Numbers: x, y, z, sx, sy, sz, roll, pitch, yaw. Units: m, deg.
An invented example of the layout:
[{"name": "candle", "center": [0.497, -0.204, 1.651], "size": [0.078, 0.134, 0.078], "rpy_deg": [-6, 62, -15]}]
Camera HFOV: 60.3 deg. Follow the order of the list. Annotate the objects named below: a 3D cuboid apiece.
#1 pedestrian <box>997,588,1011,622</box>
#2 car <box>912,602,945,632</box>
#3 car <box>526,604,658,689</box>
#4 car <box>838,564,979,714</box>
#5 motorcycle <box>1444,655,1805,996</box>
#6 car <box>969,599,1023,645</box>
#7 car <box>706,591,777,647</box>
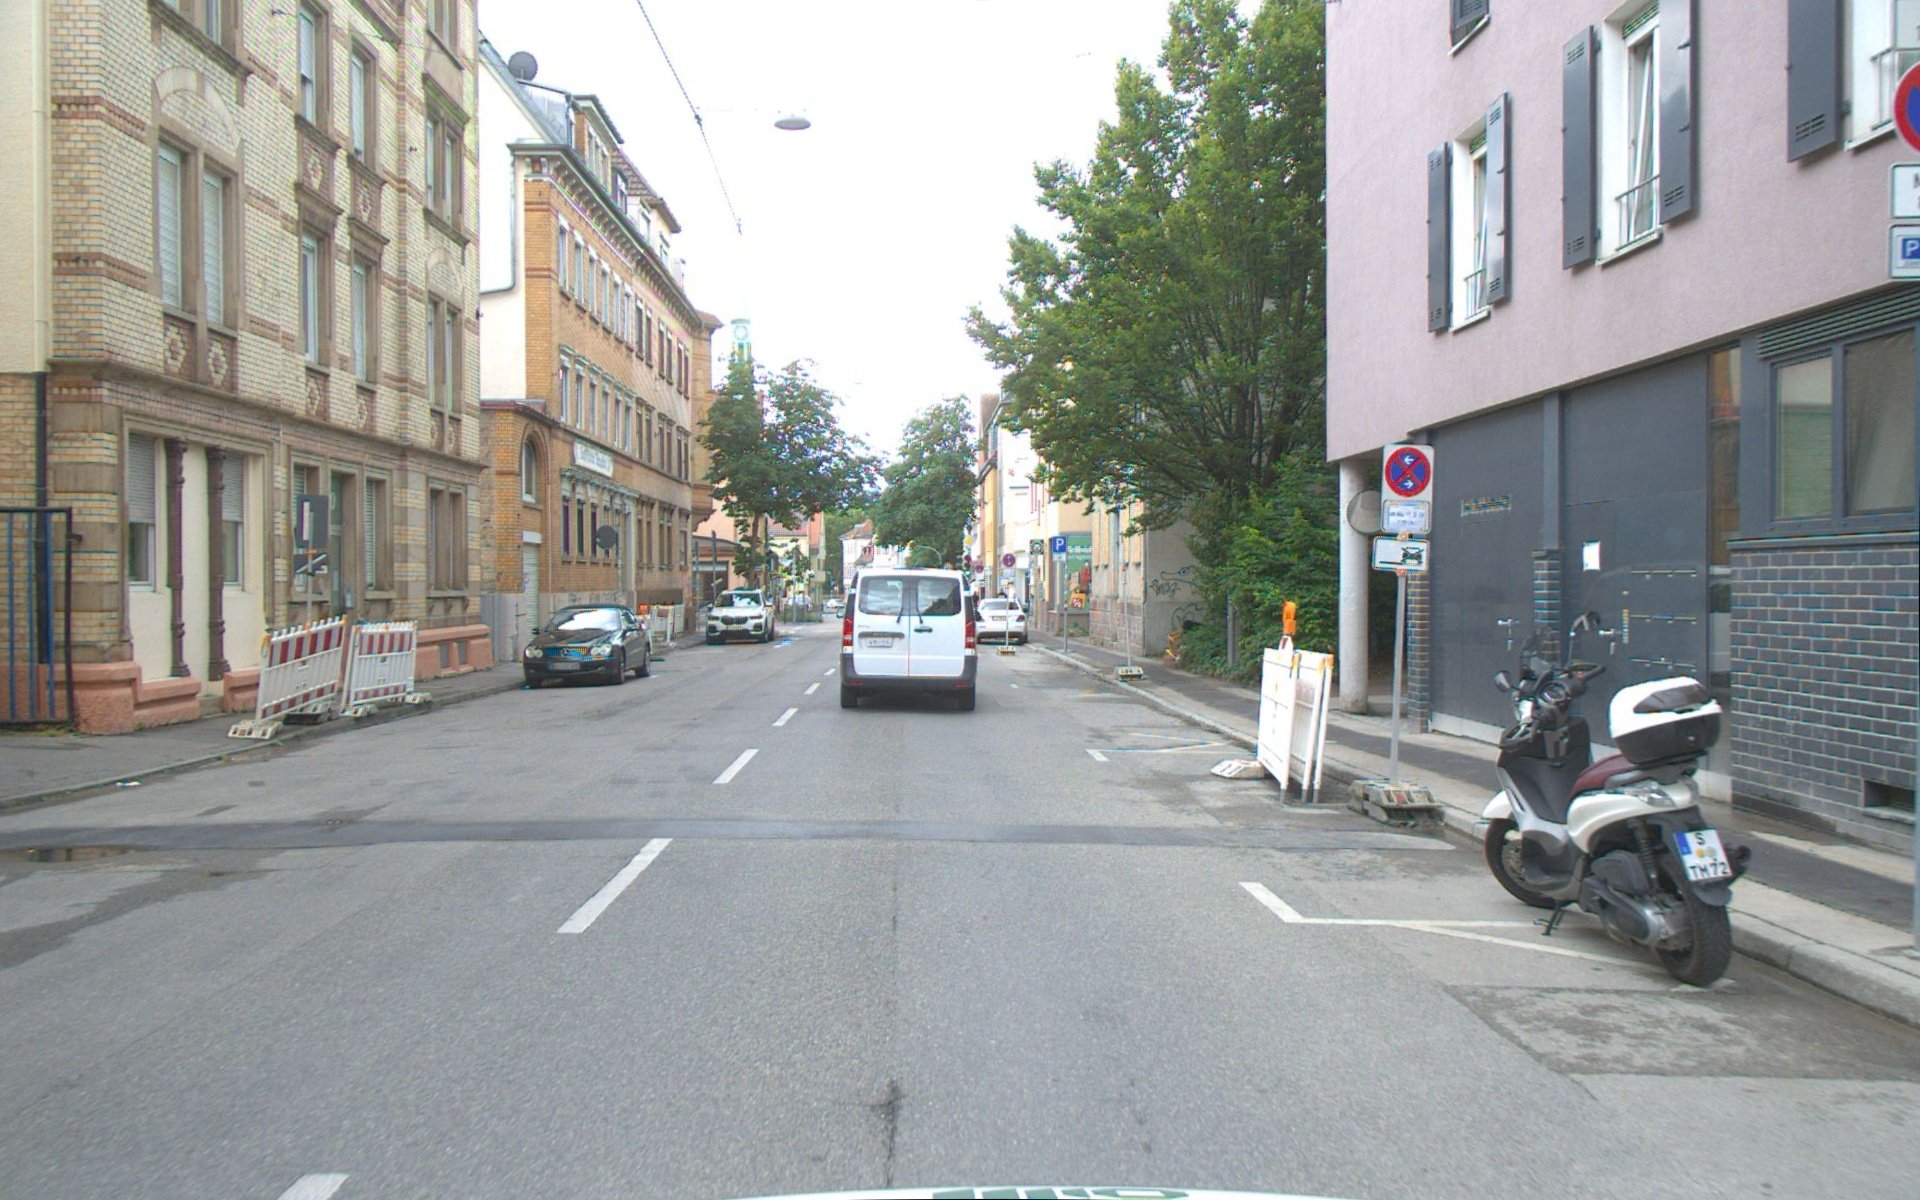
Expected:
[{"name": "pedestrian", "center": [2.245, 0.248, 84.548], "size": [0.602, 1.682, 0.982], "rpy_deg": [1, 0, -4]}, {"name": "car", "center": [-2.029, 1.067, 104.494], "size": [1.784, 1.812, 4.398], "rpy_deg": [0, -1, -5]}, {"name": "car", "center": [-6.732, 0.801, 30.650], "size": [1.547, 1.407, 4.353], "rpy_deg": [-2, 0, -1]}, {"name": "car", "center": [-0.760, 0.504, 23.503], "size": [1.835, 1.945, 3.998], "rpy_deg": [0, 0, -3]}, {"name": "motorcycle", "center": [2.928, 0.916, 7.599], "size": [0.633, 1.247, 2.336], "rpy_deg": [1, 0, -2]}, {"name": "car", "center": [1.200, 0.705, 56.003], "size": [1.731, 1.491, 4.783], "rpy_deg": [0, 0, 1]}, {"name": "car", "center": [-7.271, 0.608, 55.546], "size": [1.853, 1.742, 4.739], "rpy_deg": [-2, 0, -2]}]
